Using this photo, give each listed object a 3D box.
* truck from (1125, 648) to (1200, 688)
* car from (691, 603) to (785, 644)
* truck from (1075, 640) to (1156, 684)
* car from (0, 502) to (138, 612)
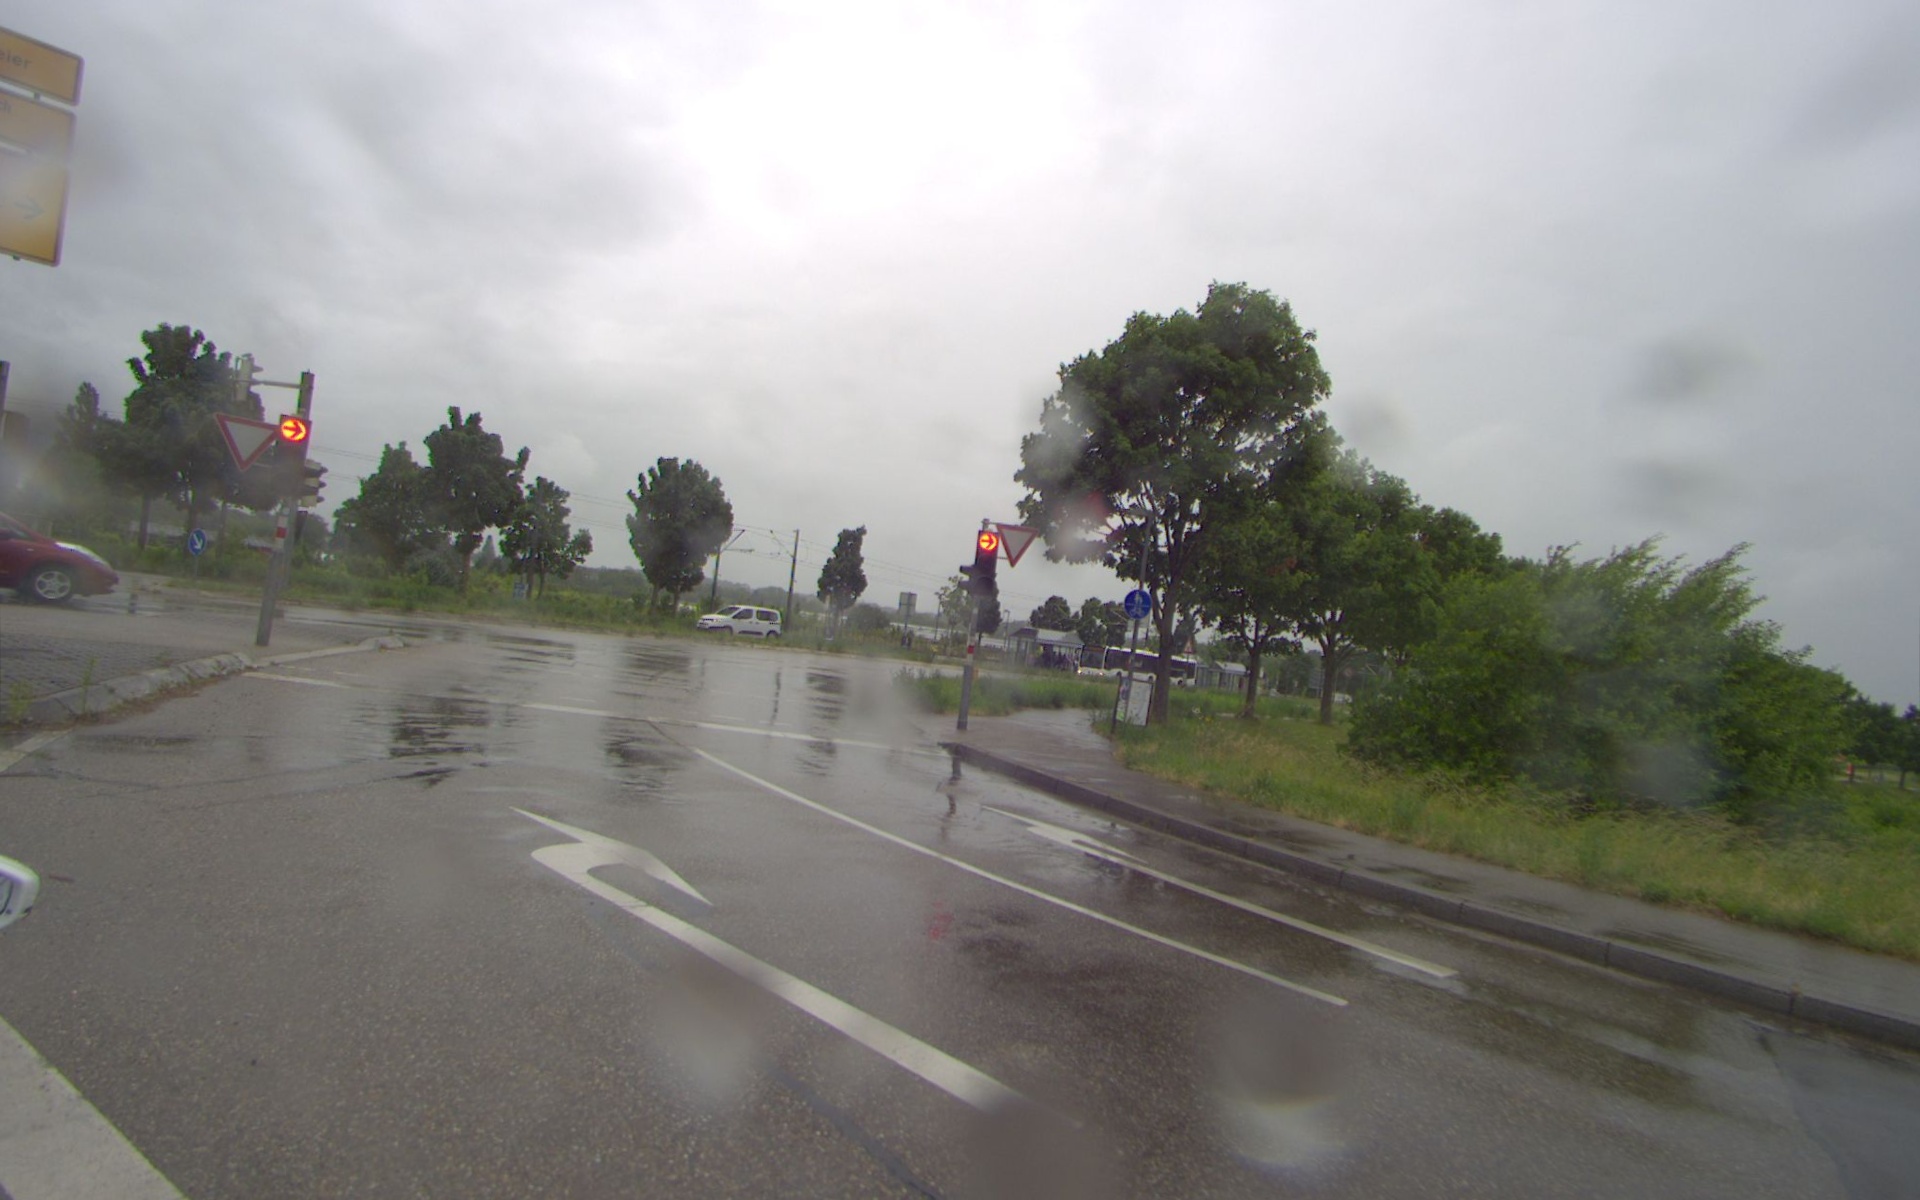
[{"bbox_3d":[18.644,6.305,92.230,2.616,2.804,9.324,7,-2,38],"label":"truck"},{"bbox_3d":[-11.235,1.222,51.112,1.798,1.572,4.326,7,-1,43],"label":"car"},{"bbox_3d":[13.245,5.299,85.105,2.616,2.864,8.822,7,-2,38],"label":"truck"},{"bbox_3d":[-16.288,-0.887,16.190,1.707,1.598,4.375,7,-2,38],"label":"car"}]
